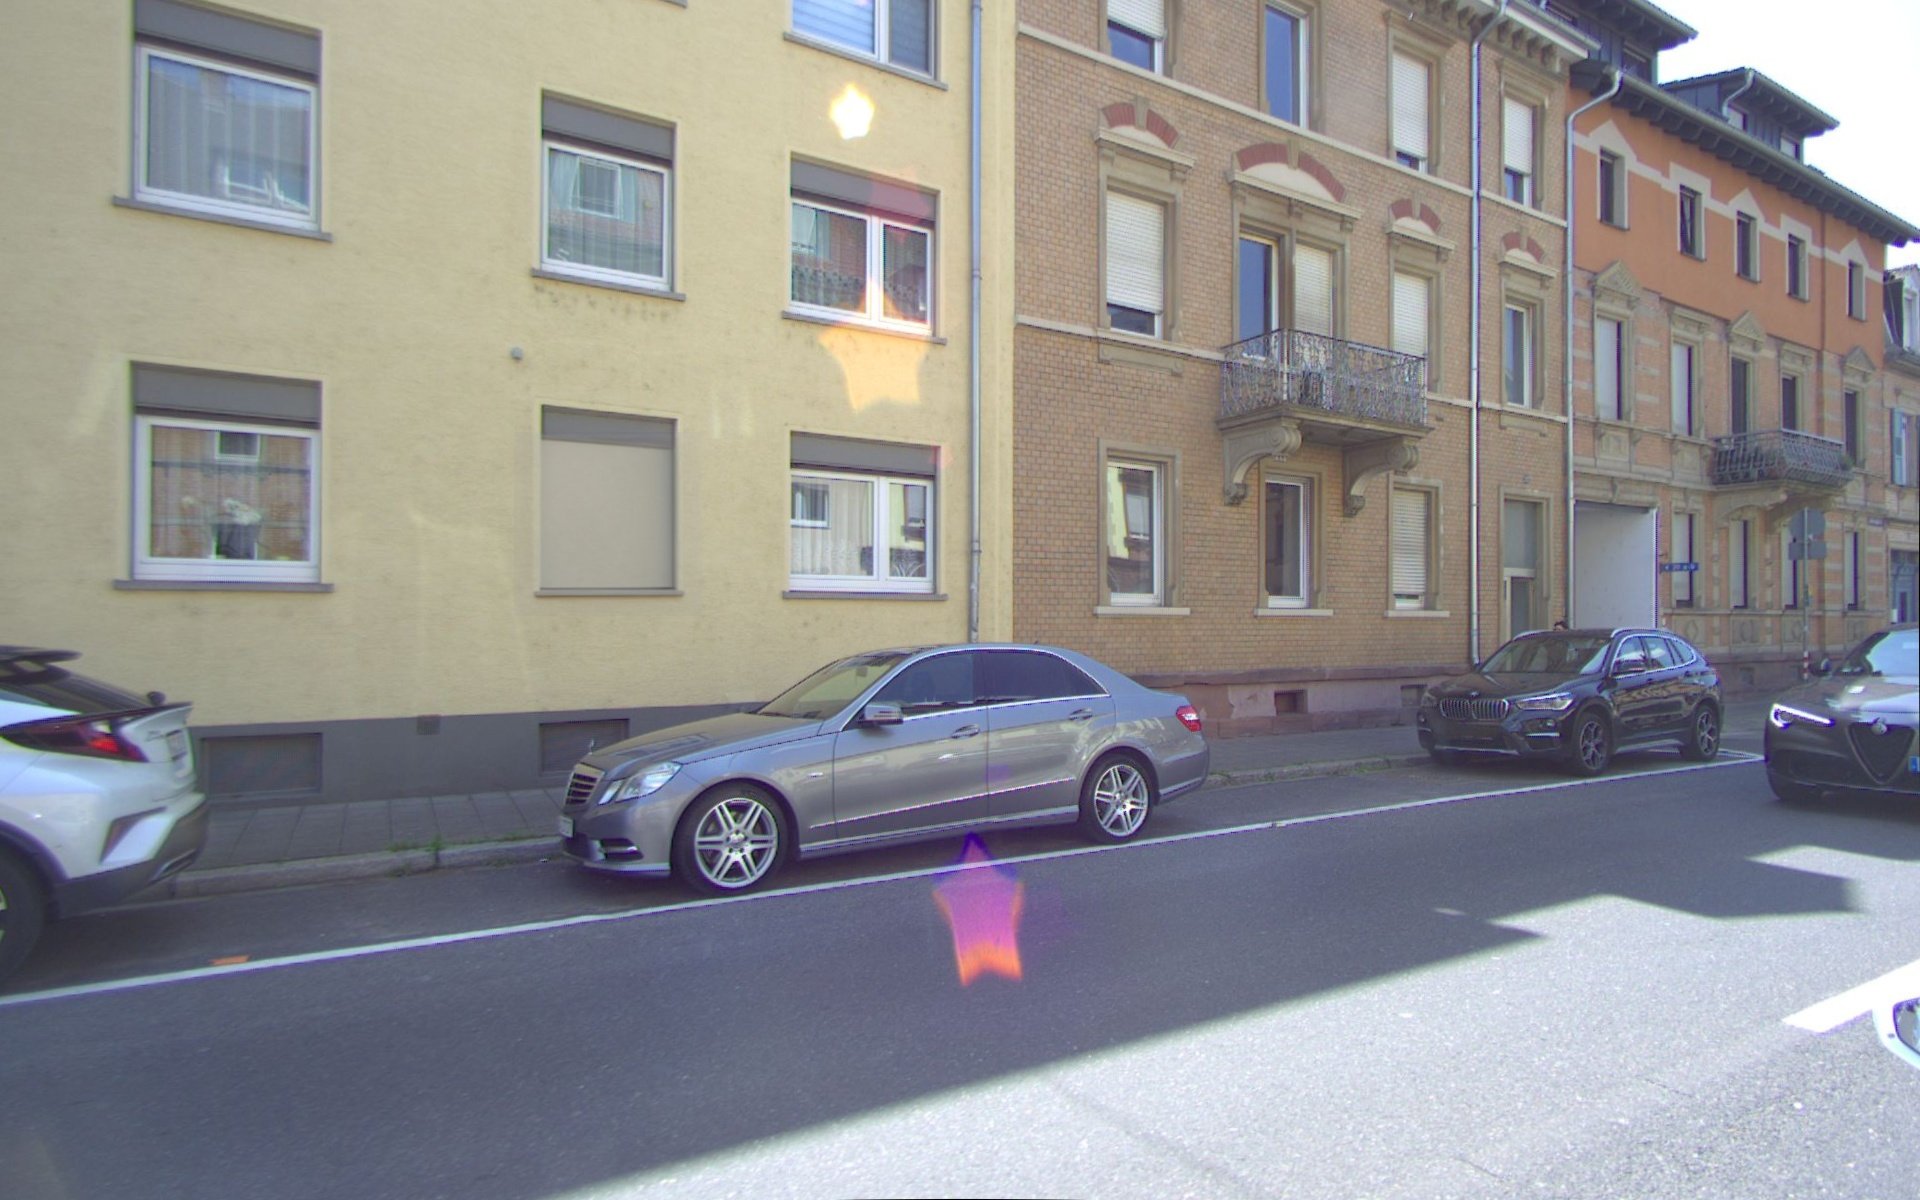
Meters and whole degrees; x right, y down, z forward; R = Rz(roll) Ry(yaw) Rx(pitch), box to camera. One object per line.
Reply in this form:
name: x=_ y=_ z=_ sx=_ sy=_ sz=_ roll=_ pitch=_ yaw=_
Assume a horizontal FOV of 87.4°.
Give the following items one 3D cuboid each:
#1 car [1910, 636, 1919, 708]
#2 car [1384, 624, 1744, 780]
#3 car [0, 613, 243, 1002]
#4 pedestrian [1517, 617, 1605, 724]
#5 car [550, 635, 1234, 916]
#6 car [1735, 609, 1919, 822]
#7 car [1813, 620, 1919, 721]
car: x=21.596 y=1.423 z=20.642 sx=4.281 sy=1.444 sz=1.856 roll=1 pitch=-4 yaw=-31
car: x=7.353 y=1.133 z=12.130 sx=4.450 sy=1.571 sz=1.856 roll=1 pitch=-4 yaw=-32
car: x=-5.672 y=0.878 z=4.109 sx=4.263 sy=1.571 sz=1.856 roll=1 pitch=-4 yaw=-31
pedestrian: x=9.066 y=1.035 z=15.167 sx=0.864 sy=1.555 sz=0.800 roll=1 pitch=-1 yaw=-25
car: x=-0.387 y=1.035 z=7.335 sx=4.631 sy=1.470 sz=1.896 roll=1 pitch=-4 yaw=-30
car: x=9.113 y=0.927 z=9.020 sx=4.394 sy=1.632 sz=1.899 roll=1 pitch=-2 yaw=-30
car: x=17.304 y=1.221 z=17.925 sx=4.450 sy=1.648 sz=1.856 roll=1 pitch=-4 yaw=-32
